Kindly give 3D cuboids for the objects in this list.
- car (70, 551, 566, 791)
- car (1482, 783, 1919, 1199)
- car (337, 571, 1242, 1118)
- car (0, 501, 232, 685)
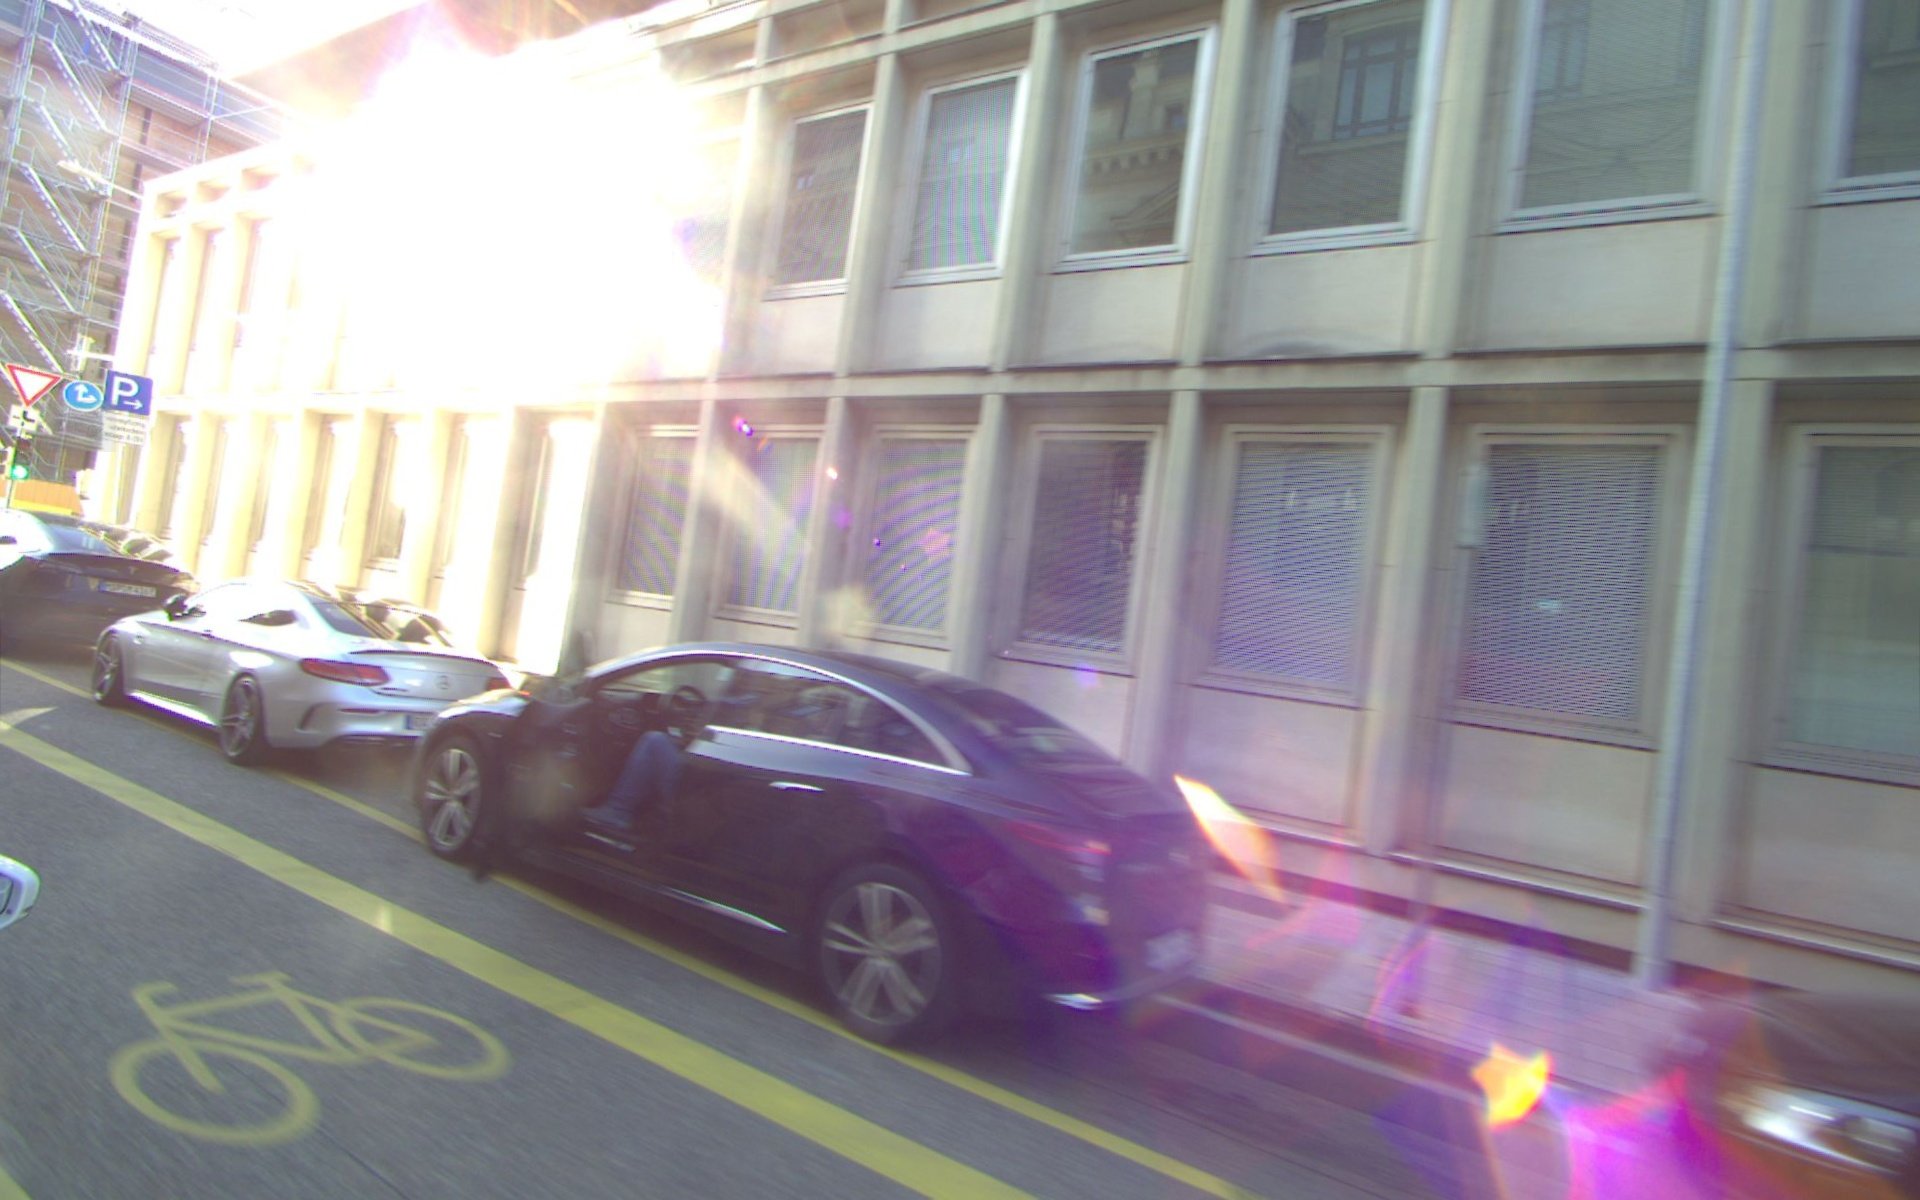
[{"bbox_3d":[-5.634,0.548,8.667,4.408,1.412,1.830,5,-6,34],"label":"car"},{"bbox_3d":[3.763,1.579,2.556,4.217,1.494,1.787,5,-5,31],"label":"car"},{"bbox_3d":[-1.100,0.955,5.528,4.657,1.516,1.831,7,-5,31],"label":"car"},{"bbox_3d":[-11.188,-0.228,12.307,4.588,1.716,1.831,7,-4,31],"label":"car"}]
